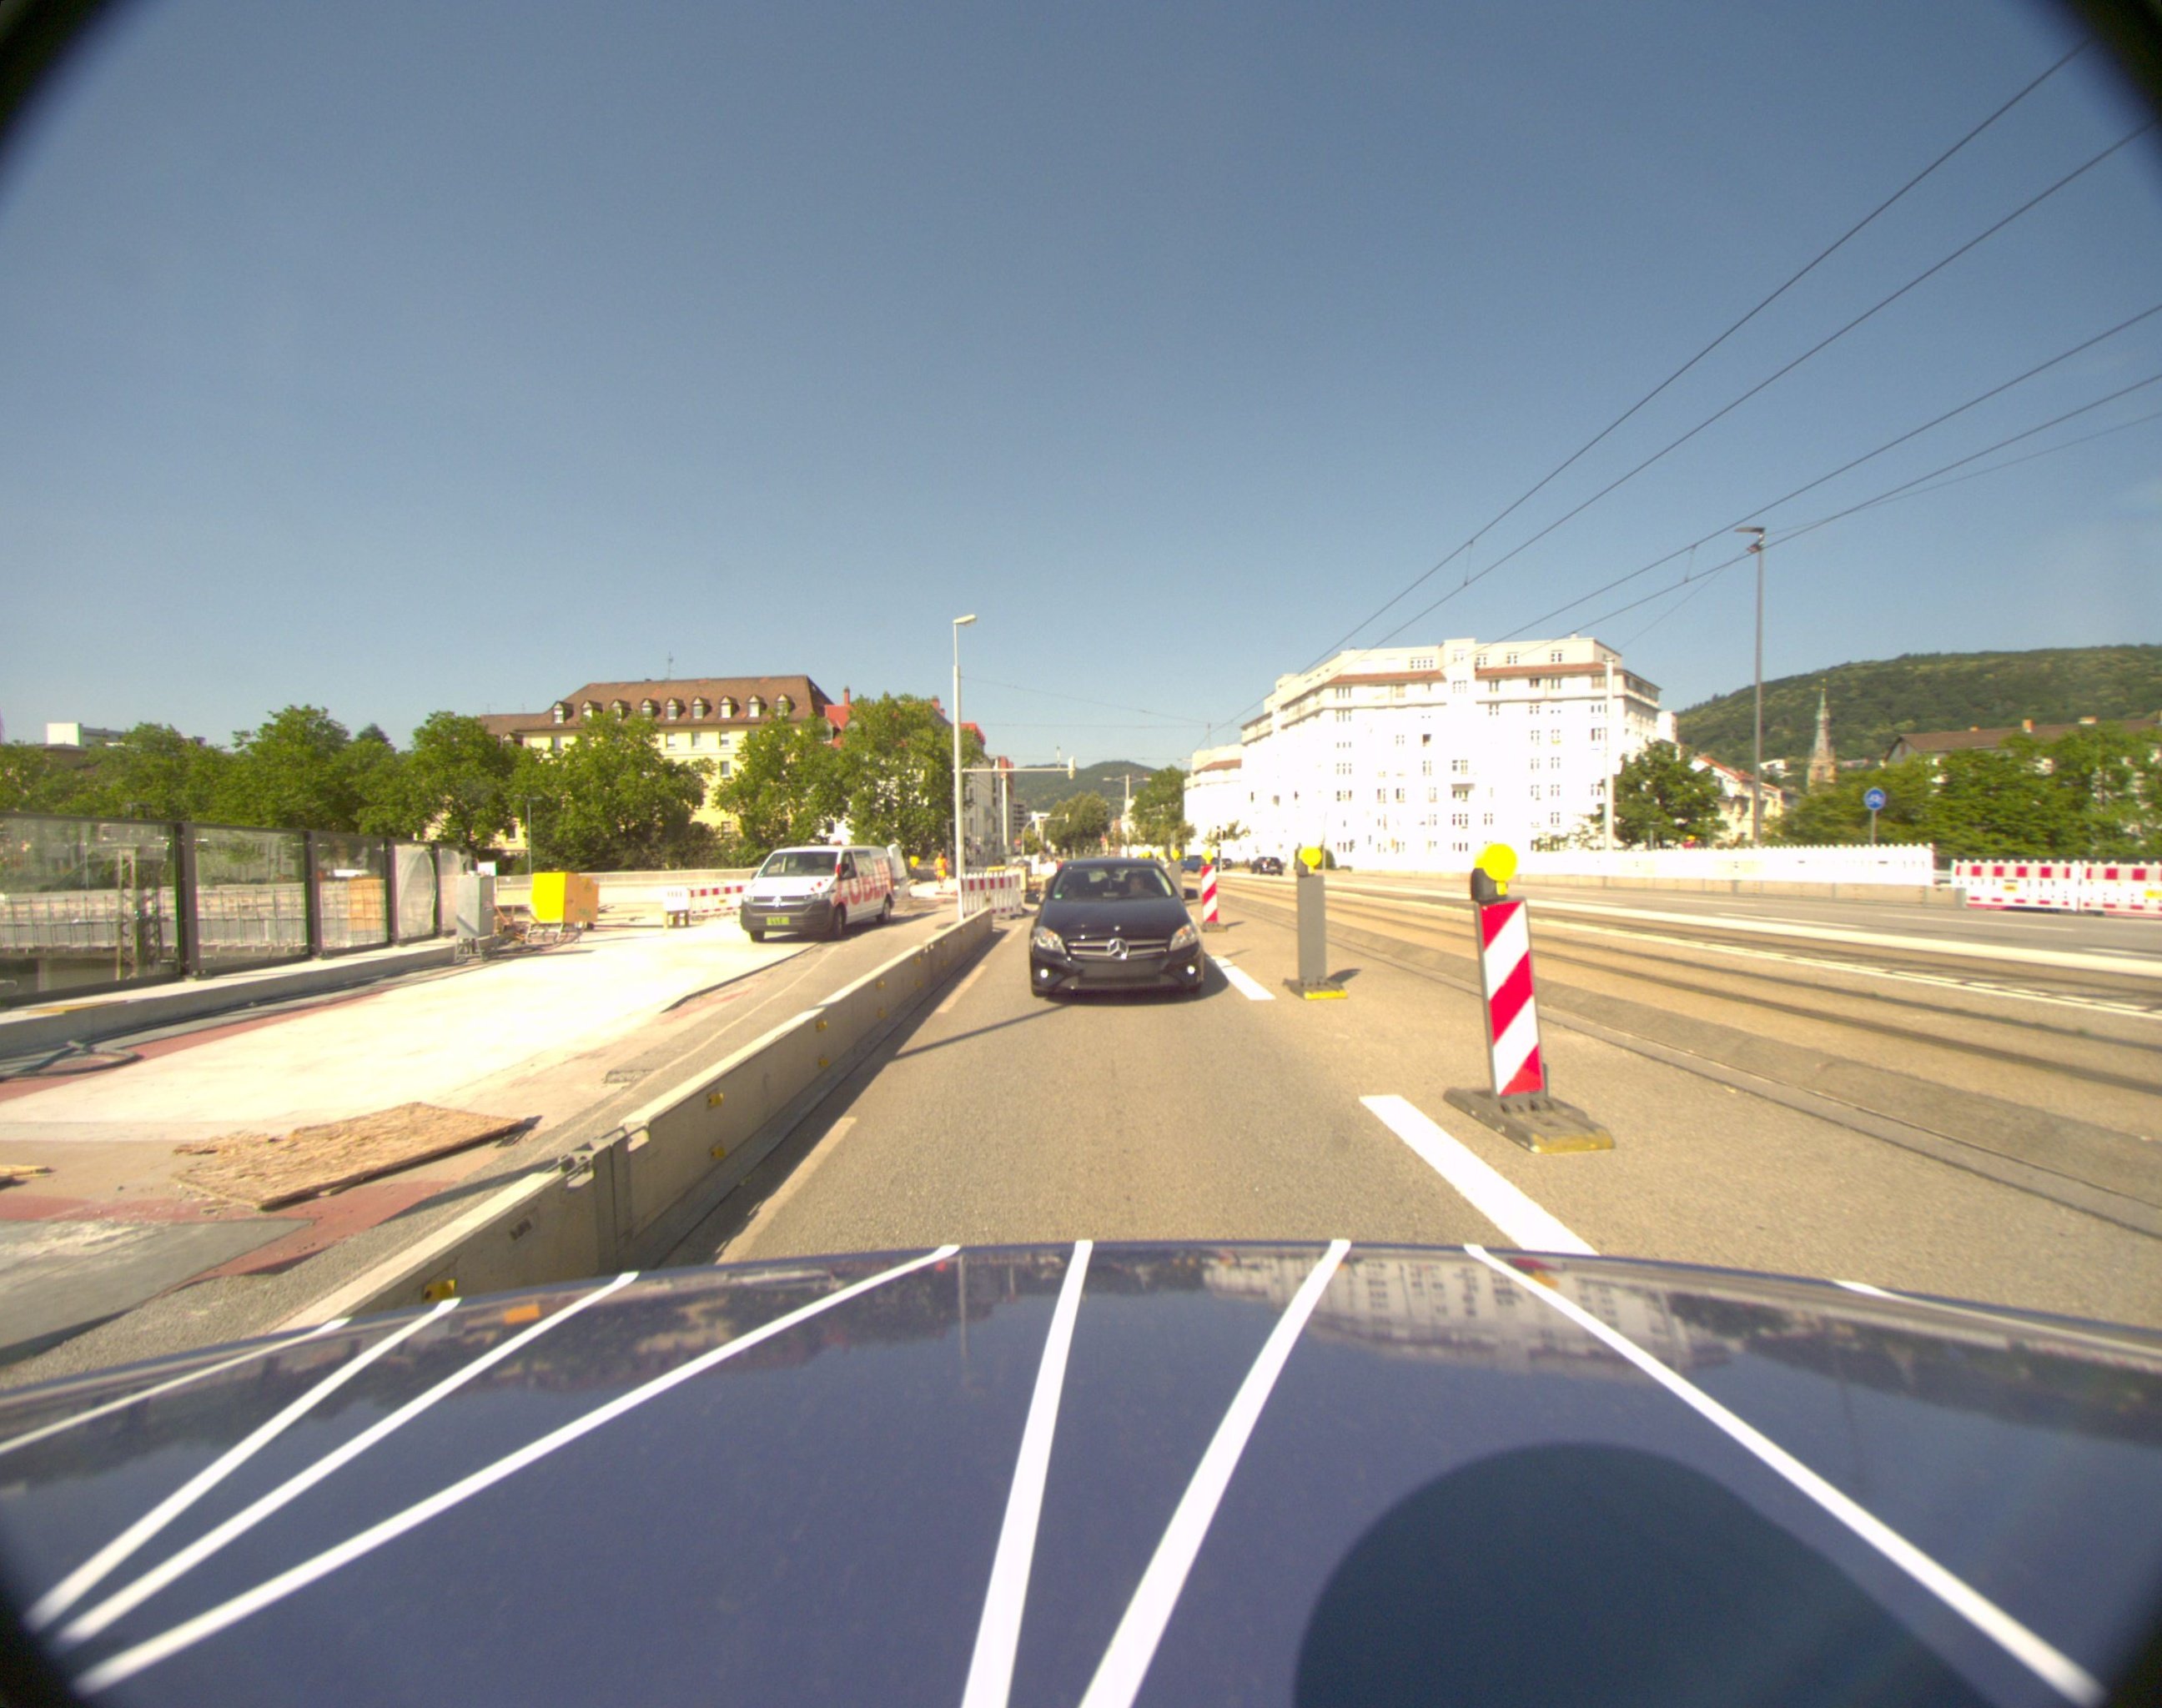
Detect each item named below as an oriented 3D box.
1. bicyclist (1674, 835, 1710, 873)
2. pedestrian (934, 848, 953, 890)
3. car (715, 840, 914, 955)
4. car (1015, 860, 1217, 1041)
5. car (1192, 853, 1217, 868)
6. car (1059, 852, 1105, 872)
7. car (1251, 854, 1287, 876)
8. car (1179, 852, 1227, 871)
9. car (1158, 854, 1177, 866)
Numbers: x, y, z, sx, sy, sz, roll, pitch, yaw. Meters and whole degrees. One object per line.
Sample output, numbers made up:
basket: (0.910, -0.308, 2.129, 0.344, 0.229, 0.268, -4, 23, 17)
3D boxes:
bicyclist: (25.313, -0.010, 31.489, 0.858, 1.510, 0.817, -2, 1, 0)
pedestrian: (-6.652, 0.702, 36.718, 0.761, 1.973, 0.843, 0, 2, 1)
car: (-5.687, 0.755, 17.410, 1.938, 2.078, 6.469, -1, 1, 3)
car: (0.340, 0.859, 8.786, 1.698, 1.389, 4.362, -2, 1, 1)
car: (13.454, 0.698, 82.862, 2.039, 1.478, 3.998, 0, 1, -1)
car: (0.128, 0.764, 73.493, 3.992, 1.673, 2.003, -4, -1, 17)
car: (13.644, 0.738, 55.319, 1.801, 1.477, 4.000, -1, 0, 2)
car: (10.555, 0.673, 66.008, 2.043, 1.477, 3.992, -2, 0, -27)
car: (12.070, 0.808, 105.889, 2.039, 1.477, 3.998, 0, 1, -3)
